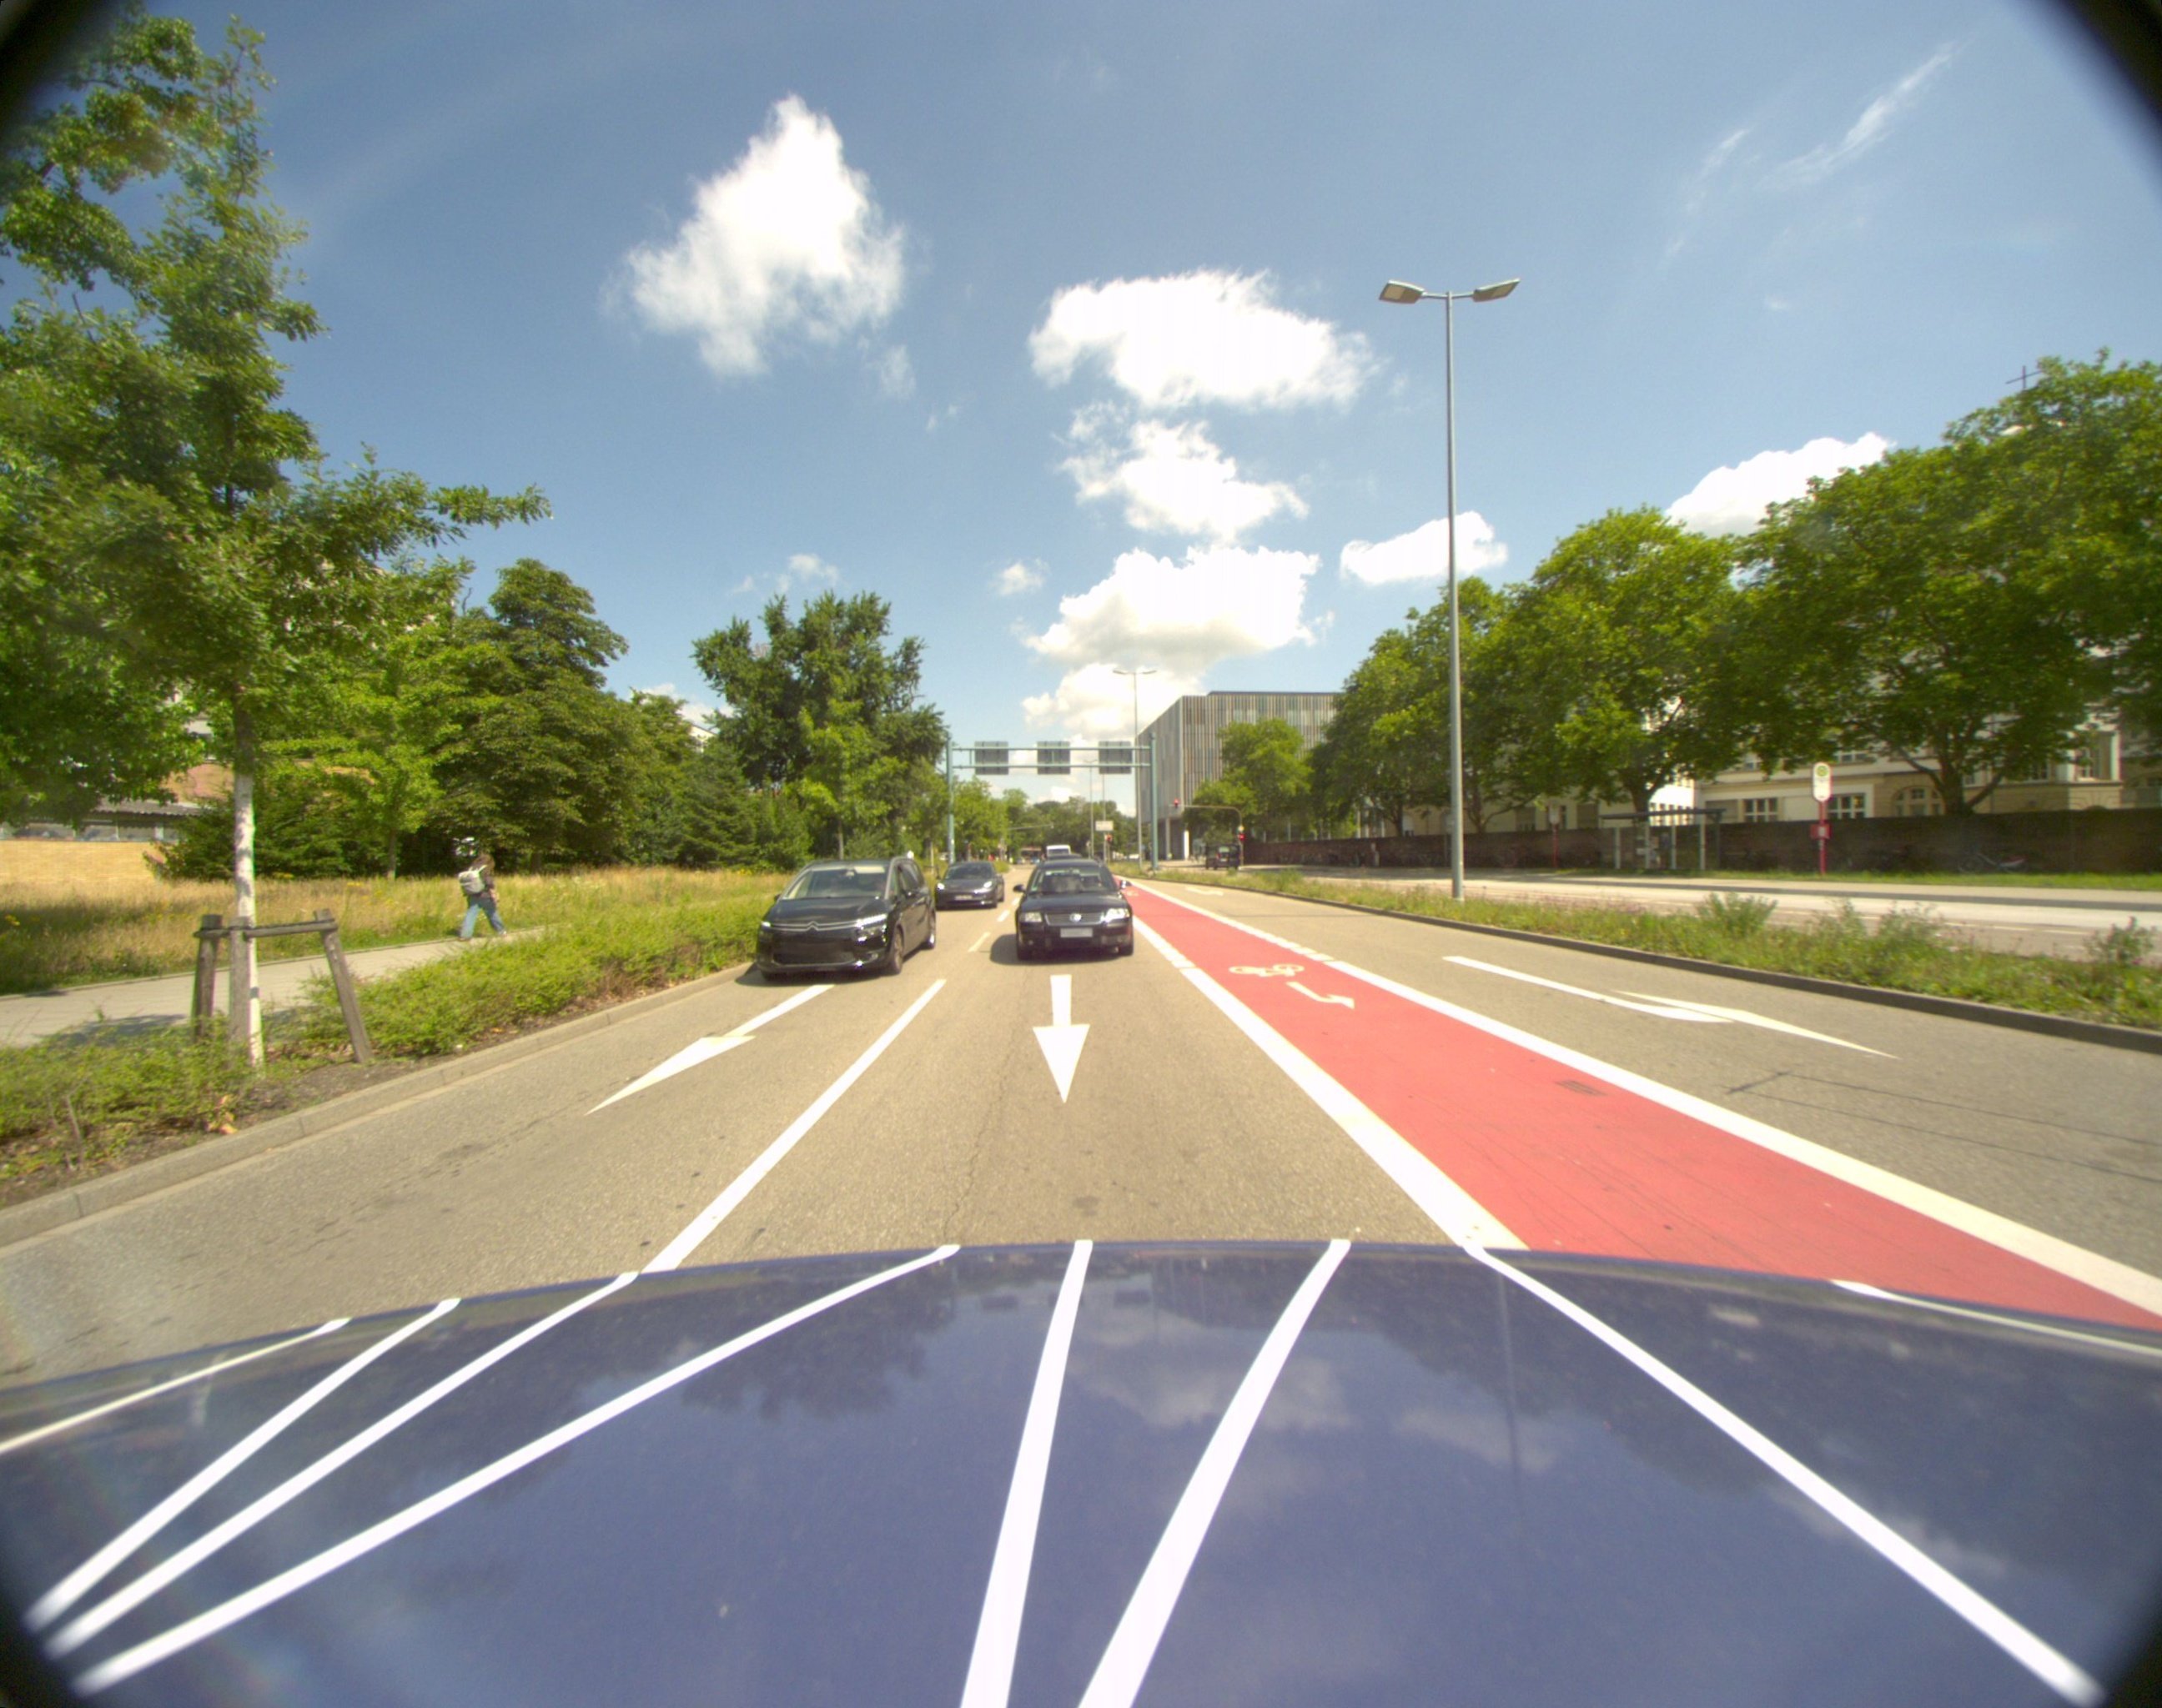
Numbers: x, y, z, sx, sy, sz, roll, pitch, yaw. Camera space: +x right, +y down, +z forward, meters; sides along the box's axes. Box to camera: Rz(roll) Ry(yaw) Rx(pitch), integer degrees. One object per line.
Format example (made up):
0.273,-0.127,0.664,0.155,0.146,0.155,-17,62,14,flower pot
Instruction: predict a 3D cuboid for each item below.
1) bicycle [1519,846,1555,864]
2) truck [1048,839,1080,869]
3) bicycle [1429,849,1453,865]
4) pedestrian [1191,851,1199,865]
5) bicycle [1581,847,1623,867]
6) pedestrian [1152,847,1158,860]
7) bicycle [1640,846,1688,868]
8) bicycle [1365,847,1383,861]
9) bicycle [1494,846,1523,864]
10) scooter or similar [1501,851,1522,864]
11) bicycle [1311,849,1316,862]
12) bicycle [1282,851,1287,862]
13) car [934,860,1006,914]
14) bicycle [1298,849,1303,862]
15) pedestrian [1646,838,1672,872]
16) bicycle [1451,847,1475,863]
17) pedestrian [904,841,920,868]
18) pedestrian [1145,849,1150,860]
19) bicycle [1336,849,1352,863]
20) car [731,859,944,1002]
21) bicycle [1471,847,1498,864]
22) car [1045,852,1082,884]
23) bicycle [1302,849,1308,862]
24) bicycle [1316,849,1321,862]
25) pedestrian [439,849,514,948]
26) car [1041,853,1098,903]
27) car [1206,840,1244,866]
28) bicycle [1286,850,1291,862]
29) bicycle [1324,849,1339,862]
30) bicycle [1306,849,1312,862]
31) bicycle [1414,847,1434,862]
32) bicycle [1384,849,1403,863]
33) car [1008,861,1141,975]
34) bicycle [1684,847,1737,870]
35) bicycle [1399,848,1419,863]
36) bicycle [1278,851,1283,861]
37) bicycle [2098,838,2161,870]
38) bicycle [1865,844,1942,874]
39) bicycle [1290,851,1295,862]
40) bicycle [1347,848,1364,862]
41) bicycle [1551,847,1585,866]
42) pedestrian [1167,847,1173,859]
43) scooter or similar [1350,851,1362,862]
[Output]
26.438,0.056,44.079,0.398,1.037,1.954,-2,1,-19,bicycle
-1.479,-0.010,64.854,2.462,2.287,5.814,-3,0,-3,truck
24.252,0.176,51.186,0.398,1.037,1.759,-2,1,-16,bicycle
15.518,0.500,103.420,0.715,1.906,0.807,-3,2,-8,pedestrian
27.804,0.163,40.554,0.398,1.037,1.954,-2,1,-22,bicycle
10.712,-0.076,109.932,0.632,1.907,0.718,-3,2,-5,pedestrian
28.843,0.128,37.605,0.398,1.037,1.954,-2,1,-22,bicycle
22.330,0.024,57.999,0.383,1.037,1.668,-1,1,-15,bicycle
25.827,0.062,45.932,0.398,1.037,1.759,-2,1,-18,bicycle
25.466,0.203,44.981,0.353,0.789,1.067,-2,1,-27,scooter or similar
20.431,0.120,66.733,0.382,1.101,1.672,-1,1,19,bicycle
19.422,0.192,72.531,0.329,1.012,1.672,-1,1,19,bicycle
-3.430,0.973,24.192,1.766,1.409,4.362,-3,0,-3,car
19.867,0.141,68.825,0.382,1.101,1.672,-1,1,19,bicycle
27.623,0.060,36.307,0.724,1.602,0.779,-2,1,-32,pedestrian
24.807,0.061,49.339,0.398,1.037,1.581,-2,1,-16,bicycle
-11.491,0.039,51.744,0.844,1.755,0.841,-3,2,-3,pedestrian
11.553,0.123,132.026,0.715,1.906,0.807,-3,2,-8,pedestrian
21.508,0.130,62.228,0.383,1.101,1.668,-1,1,-13,bicycle
-3.398,0.953,11.613,1.863,1.613,4.519,-3,0,-2,car
25.298,0.094,47.675,0.398,0.998,1.759,-2,1,-16,bicycle
-0.932,0.669,40.076,1.752,1.496,4.519,-3,0,-1,car
20.147,0.147,68.399,0.382,1.101,1.672,-1,1,19,bicycle
20.602,0.127,65.984,0.382,1.101,1.672,-1,1,19,bicycle
-11.019,0.786,13.874,0.668,1.740,0.877,0,1,-3,pedestrian
-0.439,0.763,26.704,1.752,1.496,4.519,-3,0,-2,car
12.093,-0.082,64.131,2.214,2.158,4.519,0,0,-1,car
19.596,0.186,71.610,0.329,1.012,1.672,-1,1,19,bicycle
21.151,0.150,64.228,0.383,1.101,1.668,-1,1,-11,bicycle
20.290,0.112,67.589,0.382,1.101,1.672,-1,1,19,bicycle
23.795,0.035,52.738,0.378,1.037,1.414,-2,1,-16,bicycle
22.976,0.124,55.939,0.383,1.037,1.668,-1,1,-15,bicycle
-0.142,0.898,12.730,1.752,1.426,4.519,-3,0,-1,car
29.569,0.194,35.709,0.398,1.037,1.954,-2,1,-22,bicycle
23.396,0.075,54.266,0.383,1.037,1.668,-1,1,-15,bicycle
19.256,0.186,73.255,0.329,1.012,1.672,-1,1,19,bicycle
34.857,-0.008,24.960,0.398,1.024,1.683,-2,1,-29,bicycle
32.350,0.186,29.920,0.398,1.130,2.034,-2,1,-26,bicycle
19.735,0.197,70.902,0.329,1.012,1.672,-1,1,19,bicycle
21.900,0.103,60.573,0.383,1.101,1.668,-1,1,-15,bicycle
27.114,0.156,42.327,0.398,1.037,1.637,-2,1,-22,bicycle
14.768,-0.230,126.203,0.826,1.906,0.807,-3,2,-8,pedestrian
21.463,0.222,59.321,0.353,0.838,1.068,-2,1,-15,scooter or similar
